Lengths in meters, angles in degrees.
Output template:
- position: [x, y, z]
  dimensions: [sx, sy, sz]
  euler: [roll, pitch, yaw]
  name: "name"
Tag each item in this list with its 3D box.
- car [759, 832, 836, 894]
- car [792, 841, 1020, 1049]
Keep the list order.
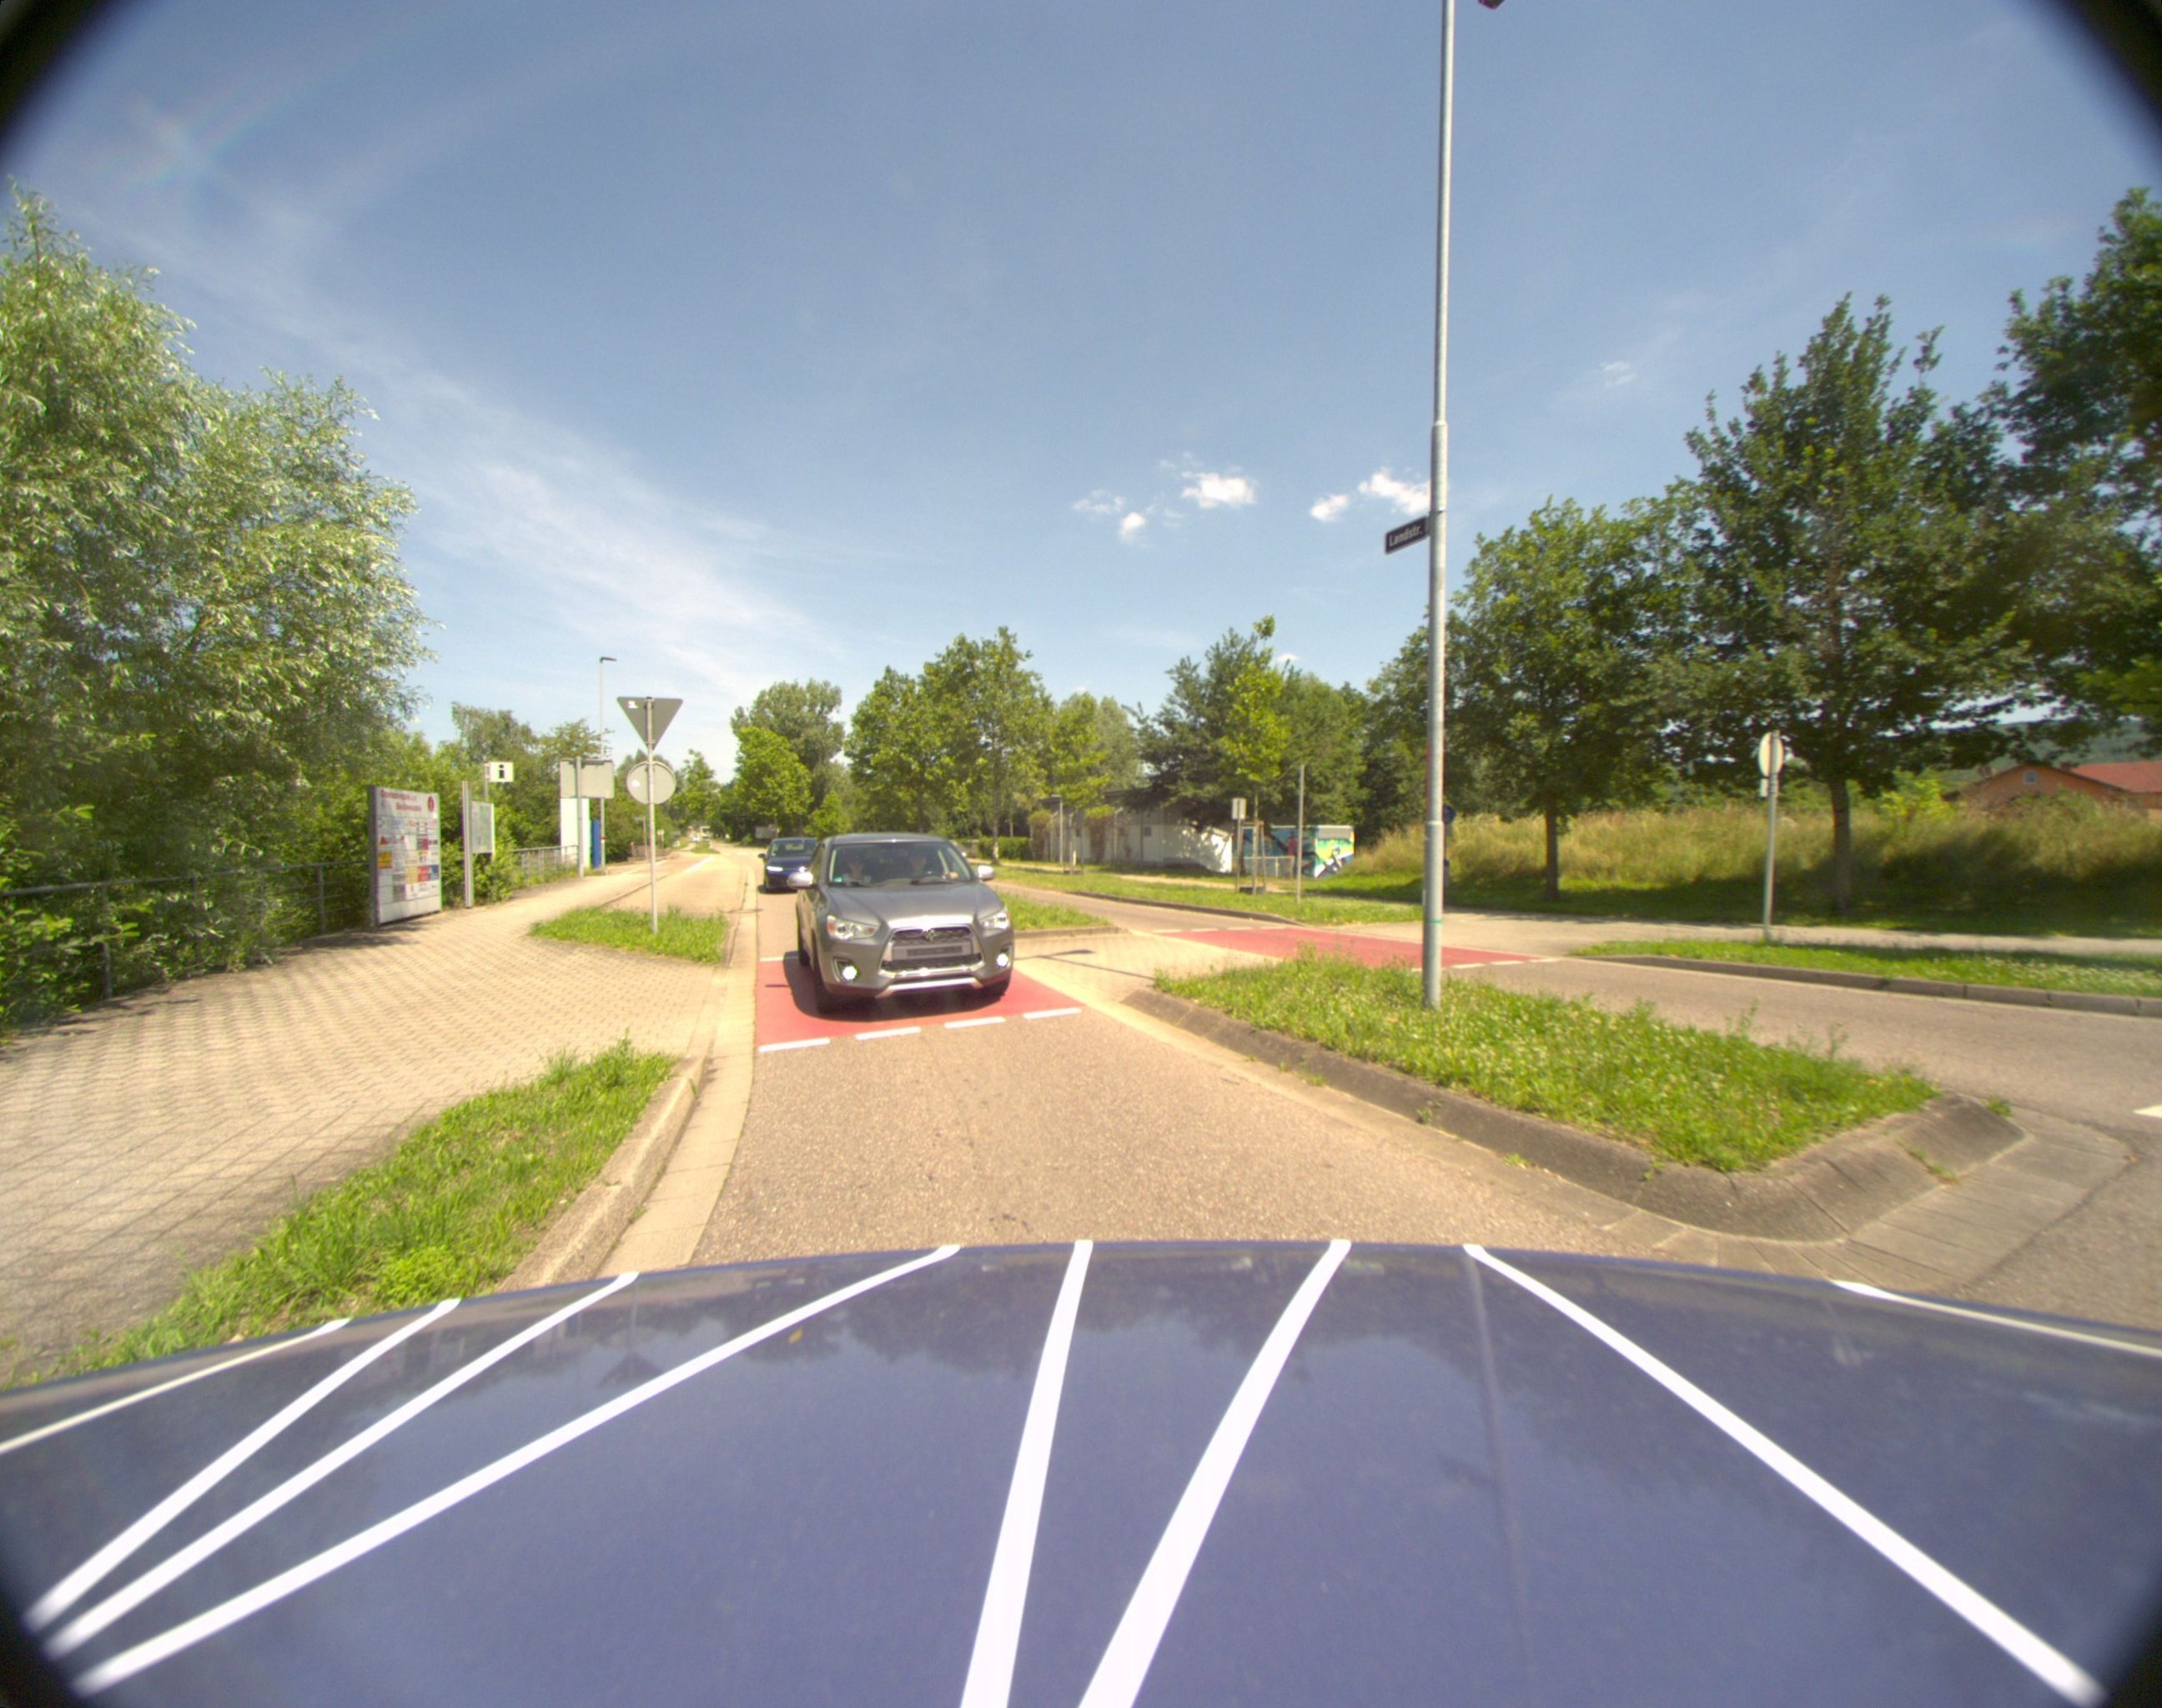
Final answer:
- position: [-7.965, 0.175, 21.433]
  dimensions: [1.796, 1.531, 4.123]
  euler: [-1, 2, -20]
  name: "car"
- position: [-2.171, 0.669, 8.304]
  dimensions: [1.753, 1.525, 4.515]
  euler: [-1, 2, -22]
  name: "car"
